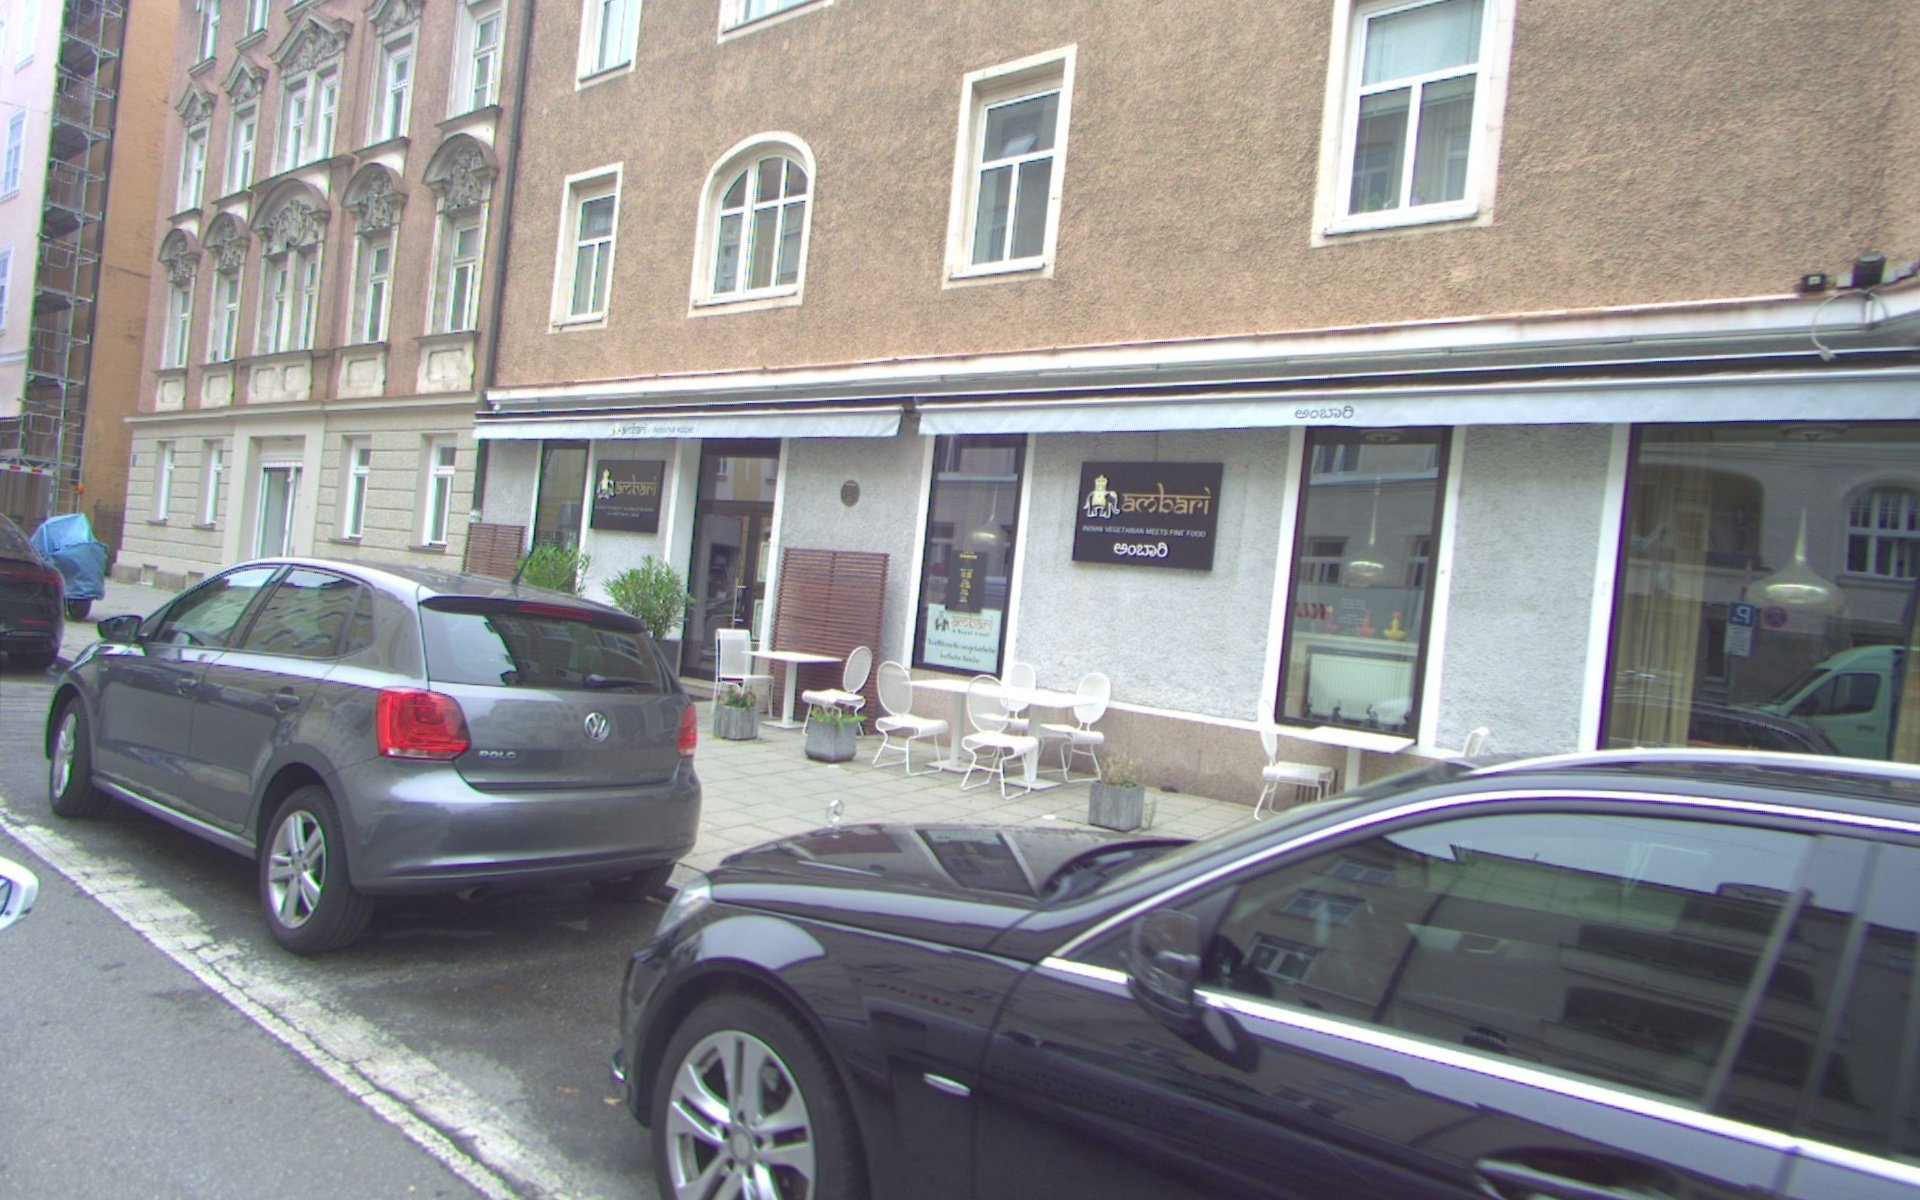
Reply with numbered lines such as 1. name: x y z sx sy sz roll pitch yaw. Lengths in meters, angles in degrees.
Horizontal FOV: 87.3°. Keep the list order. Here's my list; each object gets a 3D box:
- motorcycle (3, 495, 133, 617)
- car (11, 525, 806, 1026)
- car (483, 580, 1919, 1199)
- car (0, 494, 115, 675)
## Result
1. motorcycle: -12.648 -0.639 14.245 1.966 1.523 0.871 6 0 36
2. car: -2.878 0.513 4.907 4.115 1.412 1.573 5 0 33
3. car: 1.312 0.924 1.967 4.712 1.422 1.848 6 -1 34
4. car: -10.873 -0.395 10.191 5.546 1.571 1.933 6 -1 33
